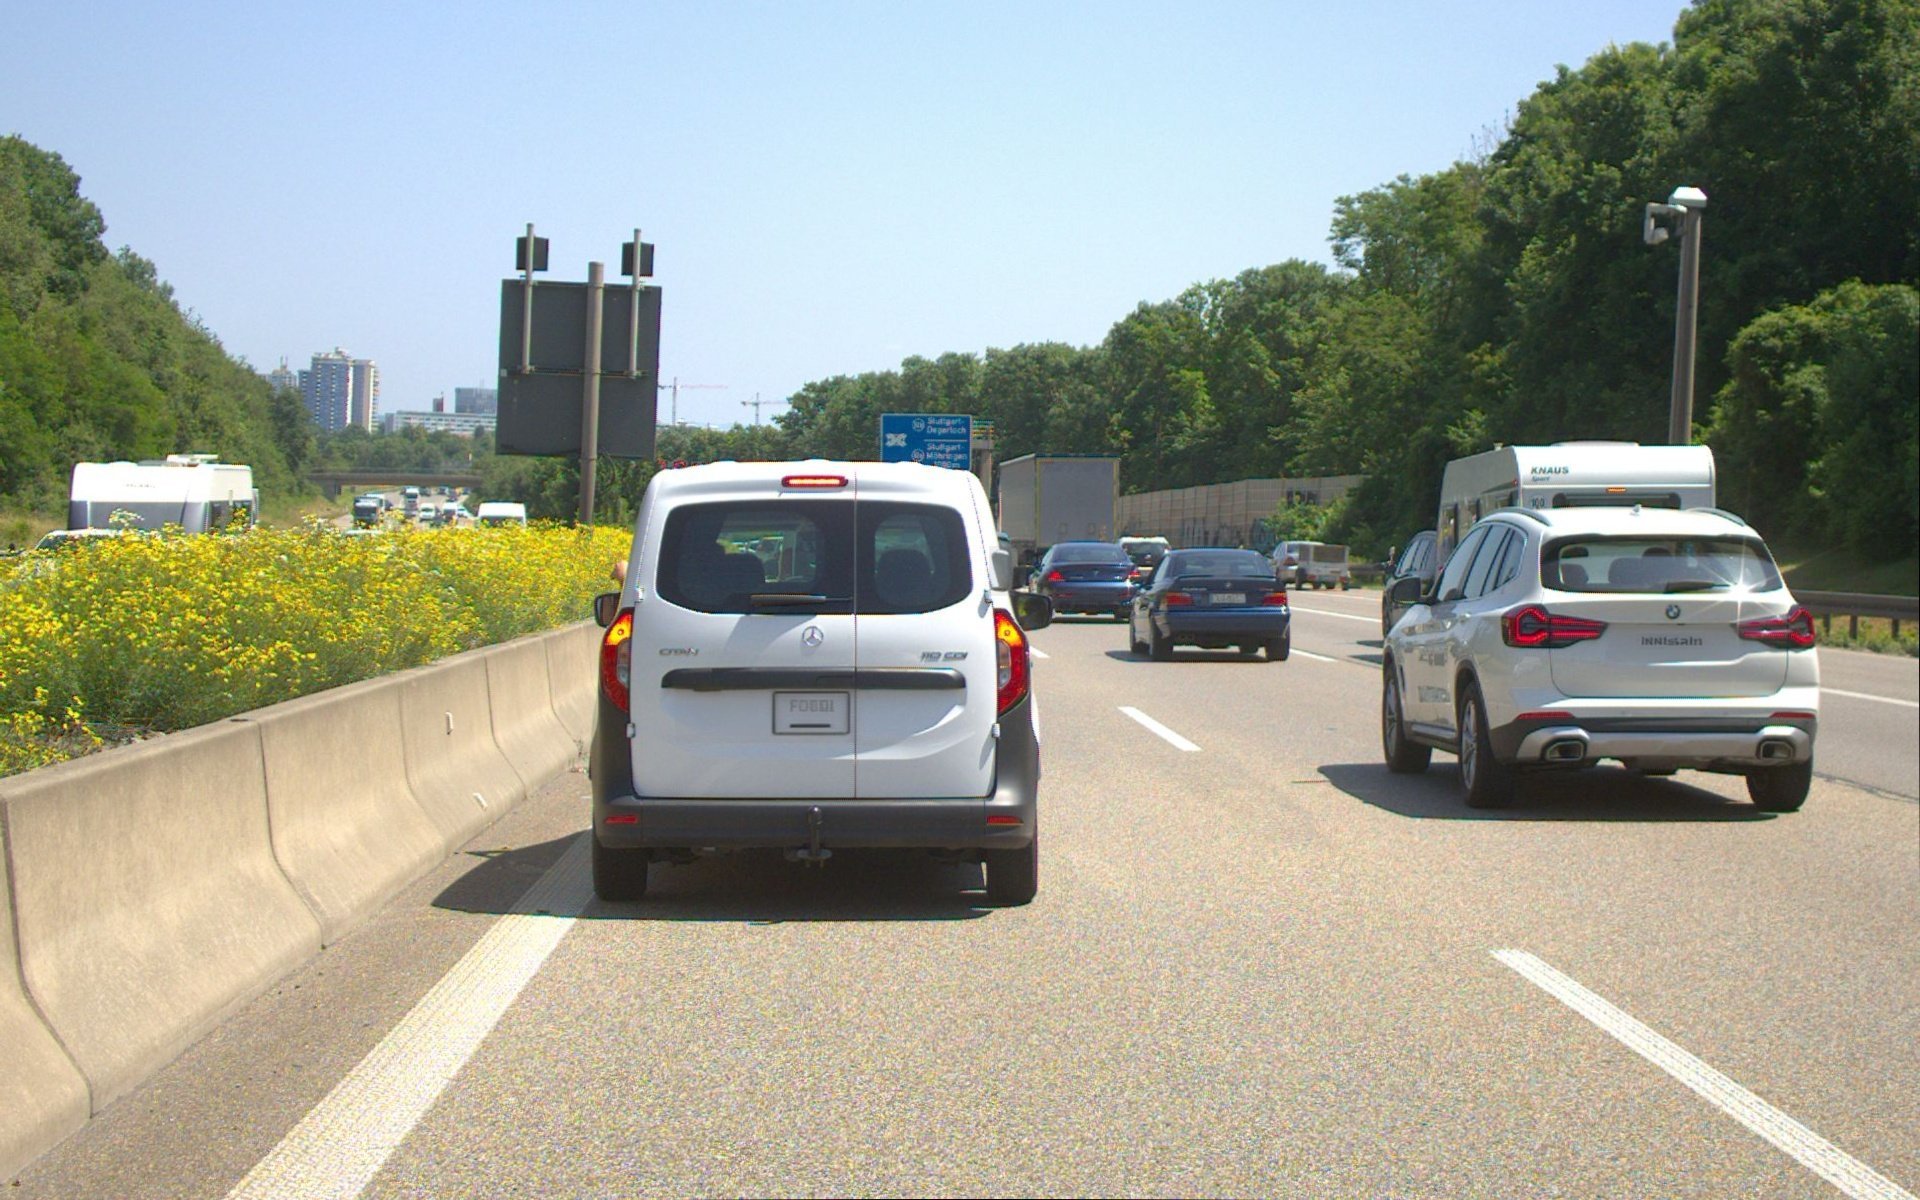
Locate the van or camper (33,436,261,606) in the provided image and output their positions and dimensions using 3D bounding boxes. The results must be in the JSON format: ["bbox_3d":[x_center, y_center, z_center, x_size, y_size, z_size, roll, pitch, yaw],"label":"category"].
[{"bbox_3d":[-13.431,-1.313,57.304,2.308,2.627,7.400,1,1,-2],"label":"van or camper"}]

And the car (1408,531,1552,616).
[{"bbox_3d":[9.042,-0.489,60.055,1.824,1.419,4.000,1,1,-1],"label":"car"}]

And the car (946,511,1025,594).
[{"bbox_3d":[0.619,-1.195,85.325,1.824,1.982,4.000,1,1,-1],"label":"car"}]

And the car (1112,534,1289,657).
[{"bbox_3d":[2.927,-0.092,42.589,1.824,1.419,4.000,1,1,-1],"label":"car"}]

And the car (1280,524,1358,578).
[{"bbox_3d":[10.380,-1.432,99.660,1.788,1.514,4.000,1,1,-1],"label":"car"}]

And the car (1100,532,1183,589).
[{"bbox_3d":[4.672,-1.029,88.841,1.824,1.419,4.000,1,1,-1],"label":"car"}]

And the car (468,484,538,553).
[{"bbox_3d":[-17.399,-3.100,131.157,1.993,2.533,5.909,1,1,-1],"label":"car"}]

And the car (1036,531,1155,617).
[{"bbox_3d":[2.339,-0.483,60.246,1.824,1.419,4.000,1,1,-1],"label":"car"}]

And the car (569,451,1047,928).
[{"bbox_3d":[-0.645,0.298,15.100,1.802,1.802,4.001,1,1,-2],"label":"car"}]

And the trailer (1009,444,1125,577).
[{"bbox_3d":[3.308,-2.815,108.853,3.082,3.972,10.324,1,1,-1],"label":"trailer"}]

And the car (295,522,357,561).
[{"bbox_3d":[-24.432,-2.261,132.520,1.788,1.449,3.542,1,1,-1],"label":"car"}]

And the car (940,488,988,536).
[{"bbox_3d":[0.164,-3.771,147.653,1.993,2.007,4.000,0,1,-1],"label":"car"}]

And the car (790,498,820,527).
[{"bbox_3d":[-10.759,-6.067,238.795,1.993,2.007,4.000,1,1,-1],"label":"car"}]

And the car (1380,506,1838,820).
[{"bbox_3d":[3.653,0.280,20.052,1.871,1.602,3.879,1,2,-1],"label":"car"}]

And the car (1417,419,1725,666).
[{"bbox_3d":[7.289,-0.710,41.794,2.479,2.756,6.220,1,1,-1],"label":"car"}]

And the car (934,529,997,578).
[{"bbox_3d":[0.147,-1.448,105.547,1.824,1.442,4.000,1,1,-1],"label":"car"}]

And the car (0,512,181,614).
[{"bbox_3d":[-12.986,-0.578,51.298,1.755,1.434,4.610,1,1,-1],"label":"car"}]

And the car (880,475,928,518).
[{"bbox_3d":[-2.681,-4.948,164.473,1.993,2.007,4.001,0,1,-5],"label":"car"}]

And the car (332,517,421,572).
[{"bbox_3d":[-17.096,-1.652,100.912,1.993,1.569,4.000,1,1,-1],"label":"car"}]

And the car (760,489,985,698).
[{"bbox_3d":[-0.826,-0.101,32.779,1.993,1.853,4.000,1,1,-1],"label":"car"}]
